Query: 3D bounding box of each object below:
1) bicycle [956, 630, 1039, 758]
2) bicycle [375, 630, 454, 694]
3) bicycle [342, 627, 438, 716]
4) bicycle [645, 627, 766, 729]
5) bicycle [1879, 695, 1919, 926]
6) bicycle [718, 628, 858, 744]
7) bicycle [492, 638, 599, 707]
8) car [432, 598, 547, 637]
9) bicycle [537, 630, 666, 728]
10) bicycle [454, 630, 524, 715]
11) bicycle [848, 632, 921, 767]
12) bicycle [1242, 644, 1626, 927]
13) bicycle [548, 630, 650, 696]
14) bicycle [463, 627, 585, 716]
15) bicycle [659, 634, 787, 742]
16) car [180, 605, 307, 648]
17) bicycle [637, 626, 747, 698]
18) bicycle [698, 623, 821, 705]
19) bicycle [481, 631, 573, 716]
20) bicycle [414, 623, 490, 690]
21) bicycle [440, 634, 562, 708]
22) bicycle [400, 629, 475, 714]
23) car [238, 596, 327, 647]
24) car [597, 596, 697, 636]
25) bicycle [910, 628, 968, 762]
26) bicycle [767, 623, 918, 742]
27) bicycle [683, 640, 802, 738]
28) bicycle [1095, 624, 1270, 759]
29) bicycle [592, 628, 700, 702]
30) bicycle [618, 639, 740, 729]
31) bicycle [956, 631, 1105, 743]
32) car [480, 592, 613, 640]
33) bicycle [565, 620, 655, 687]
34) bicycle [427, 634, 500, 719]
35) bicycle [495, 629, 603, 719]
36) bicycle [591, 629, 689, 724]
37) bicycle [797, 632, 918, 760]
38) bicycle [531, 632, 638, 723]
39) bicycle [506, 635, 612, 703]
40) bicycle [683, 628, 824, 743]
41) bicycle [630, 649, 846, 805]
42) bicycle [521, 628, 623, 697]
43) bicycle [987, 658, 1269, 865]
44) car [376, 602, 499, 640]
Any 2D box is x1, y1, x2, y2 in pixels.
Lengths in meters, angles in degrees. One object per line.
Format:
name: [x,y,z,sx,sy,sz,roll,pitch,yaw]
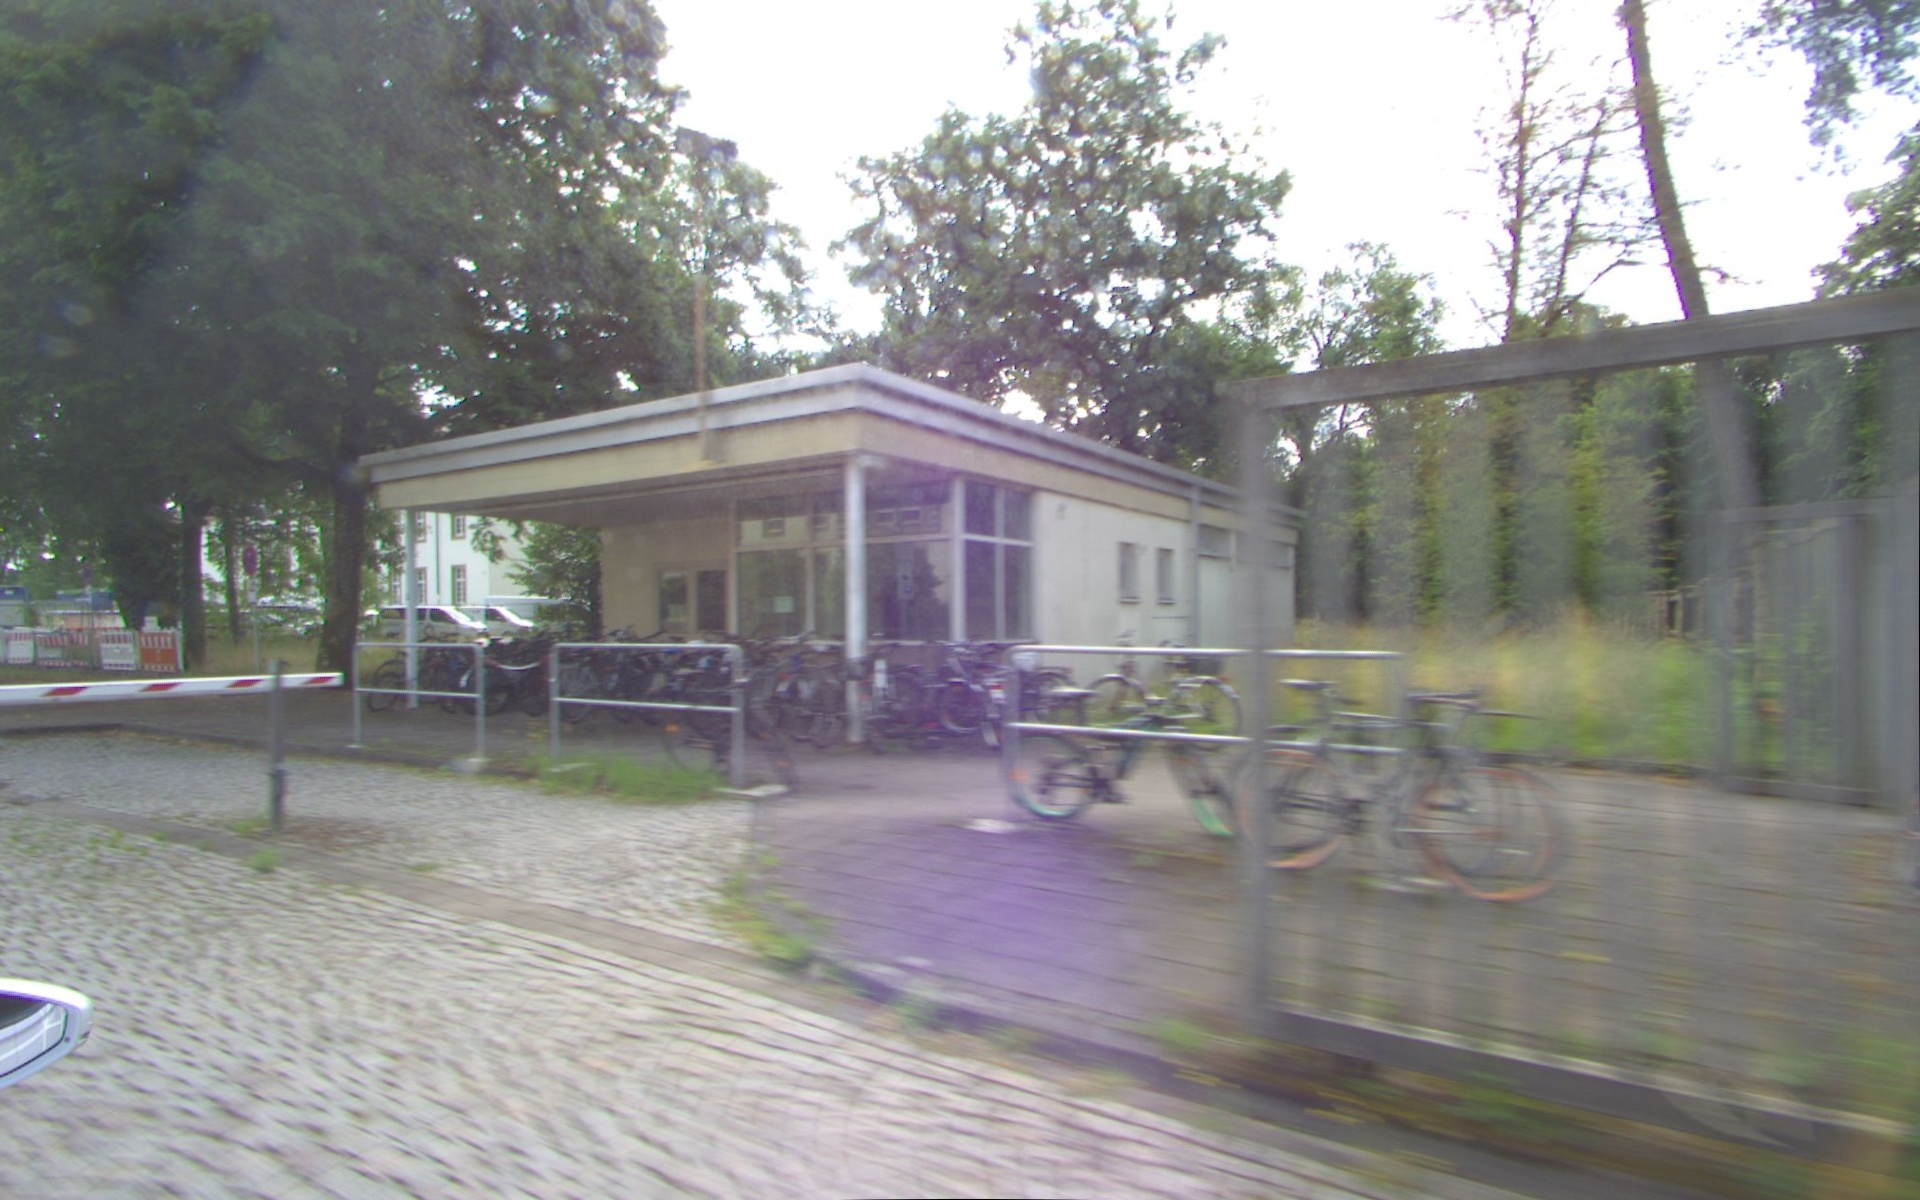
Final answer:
bicycle: [0.353,0.906,10.217,0.428,1.134,1.651,-2,1,-12]
bicycle: [-9.880,1.107,18.127,1.562,1.101,0.503,-1,0,30]
bicycle: [-8.457,1.033,14.906,0.425,1.187,1.381,0,2,11]
bicycle: [-3.240,0.964,12.951,0.394,1.186,1.980,-2,-1,21]
bicycle: [4.461,0.974,4.312,0.451,0.981,1.940,0,-1,34]
bicycle: [-1.909,0.935,11.450,0.478,1.186,1.948,-3,-1,27]
bicycle: [-6.757,1.158,16.297,1.880,1.081,0.371,-1,0,22]
car: [-23.047,0.877,49.129,4.746,1.811,2.000,-1,-1,4]
bicycle: [-4.773,1.025,13.456,0.573,1.186,1.802,-3,-1,20]
bicycle: [-6.966,1.045,14.861,0.352,1.186,1.383,-2,-1,0]
bicycle: [-0.732,0.944,10.052,0.428,1.186,1.653,-2,0,5]
bicycle: [2.359,0.853,5.104,1.691,1.186,0.500,1,1,33]
bicycle: [-6.253,1.089,17.306,1.866,1.097,0.371,-2,-1,22]
bicycle: [-6.317,1.009,14.620,0.353,1.186,1.800,-3,-1,26]
bicycle: [-2.877,1.040,12.371,0.394,1.186,2.017,-2,-1,22]
car: [-31.966,1.175,44.777,1.973,1.844,4.209,-2,-2,34]
bicycle: [-4.399,1.028,16.418,1.866,1.133,0.371,-2,-1,22]
bicycle: [-2.994,0.934,15.109,0.441,1.133,1.880,-2,-1,44]
bicycle: [-6.505,1.086,15.111,0.353,1.186,1.379,-2,-1,24]
bicycle: [-9.437,1.051,18.592,1.533,1.186,0.503,-3,-1,32]
bicycle: [-7.290,1.123,15.915,1.764,1.133,0.446,-1,0,7]
bicycle: [-7.757,1.033,14.917,0.352,1.186,1.383,-2,-1,0]
car: [-33.906,1.117,50.076,5.287,2.455,1.987,-2,-1,36]
car: [-17.755,0.907,56.754,5.617,1.982,2.435,-3,-2,35]
bicycle: [-0.235,0.918,10.273,0.428,1.186,1.652,-2,1,-6]
bicycle: [-1.255,0.870,11.185,0.479,1.186,2.067,-3,-1,31]
bicycle: [-2.557,1.025,11.960,0.348,1.044,1.769,-3,-1,25]
bicycle: [2.134,0.841,9.765,0.432,1.186,1.707,-1,1,-44]
bicycle: [-5.075,1.035,16.153,1.866,1.133,0.371,0,0,22]
bicycle: [-3.630,1.057,13.110,0.394,1.042,1.980,-2,-1,21]
bicycle: [0.746,0.905,10.804,1.572,1.098,0.434,1,1,31]
car: [-21.330,0.831,51.796,6.079,2.338,2.001,-1,-1,1]
bicycle: [-6.251,0.961,17.838,1.871,1.143,0.370,-2,-1,31]
bicycle: [-7.356,1.113,14.880,0.352,1.186,1.383,-2,-1,0]
bicycle: [-5.845,1.023,14.345,0.488,1.186,1.749,-2,-1,12]
bicycle: [-4.253,0.987,13.430,0.394,1.174,1.704,-2,-1,13]
bicycle: [-1.026,0.951,10.306,0.430,1.186,1.388,-3,-1,33]
bicycle: [-5.288,1.060,14.215,0.488,1.186,1.805,-2,-1,12]
bicycle: [-6.680,1.153,16.655,1.866,1.095,0.371,-2,-1,22]
bicycle: [-2.331,0.940,11.601,0.386,1.186,2.070,-3,-1,25]
bicycle: [-1.813,0.968,8.109,1.689,1.087,0.728,-1,0,33]
bicycle: [-6.604,1.052,17.028,1.866,1.133,0.371,-1,0,22]
bicycle: [1.027,0.929,6.219,1.572,1.071,0.728,0,0,33]
car: [-24.269,0.983,46.603,4.746,1.671,2.000,-1,-1,4]
